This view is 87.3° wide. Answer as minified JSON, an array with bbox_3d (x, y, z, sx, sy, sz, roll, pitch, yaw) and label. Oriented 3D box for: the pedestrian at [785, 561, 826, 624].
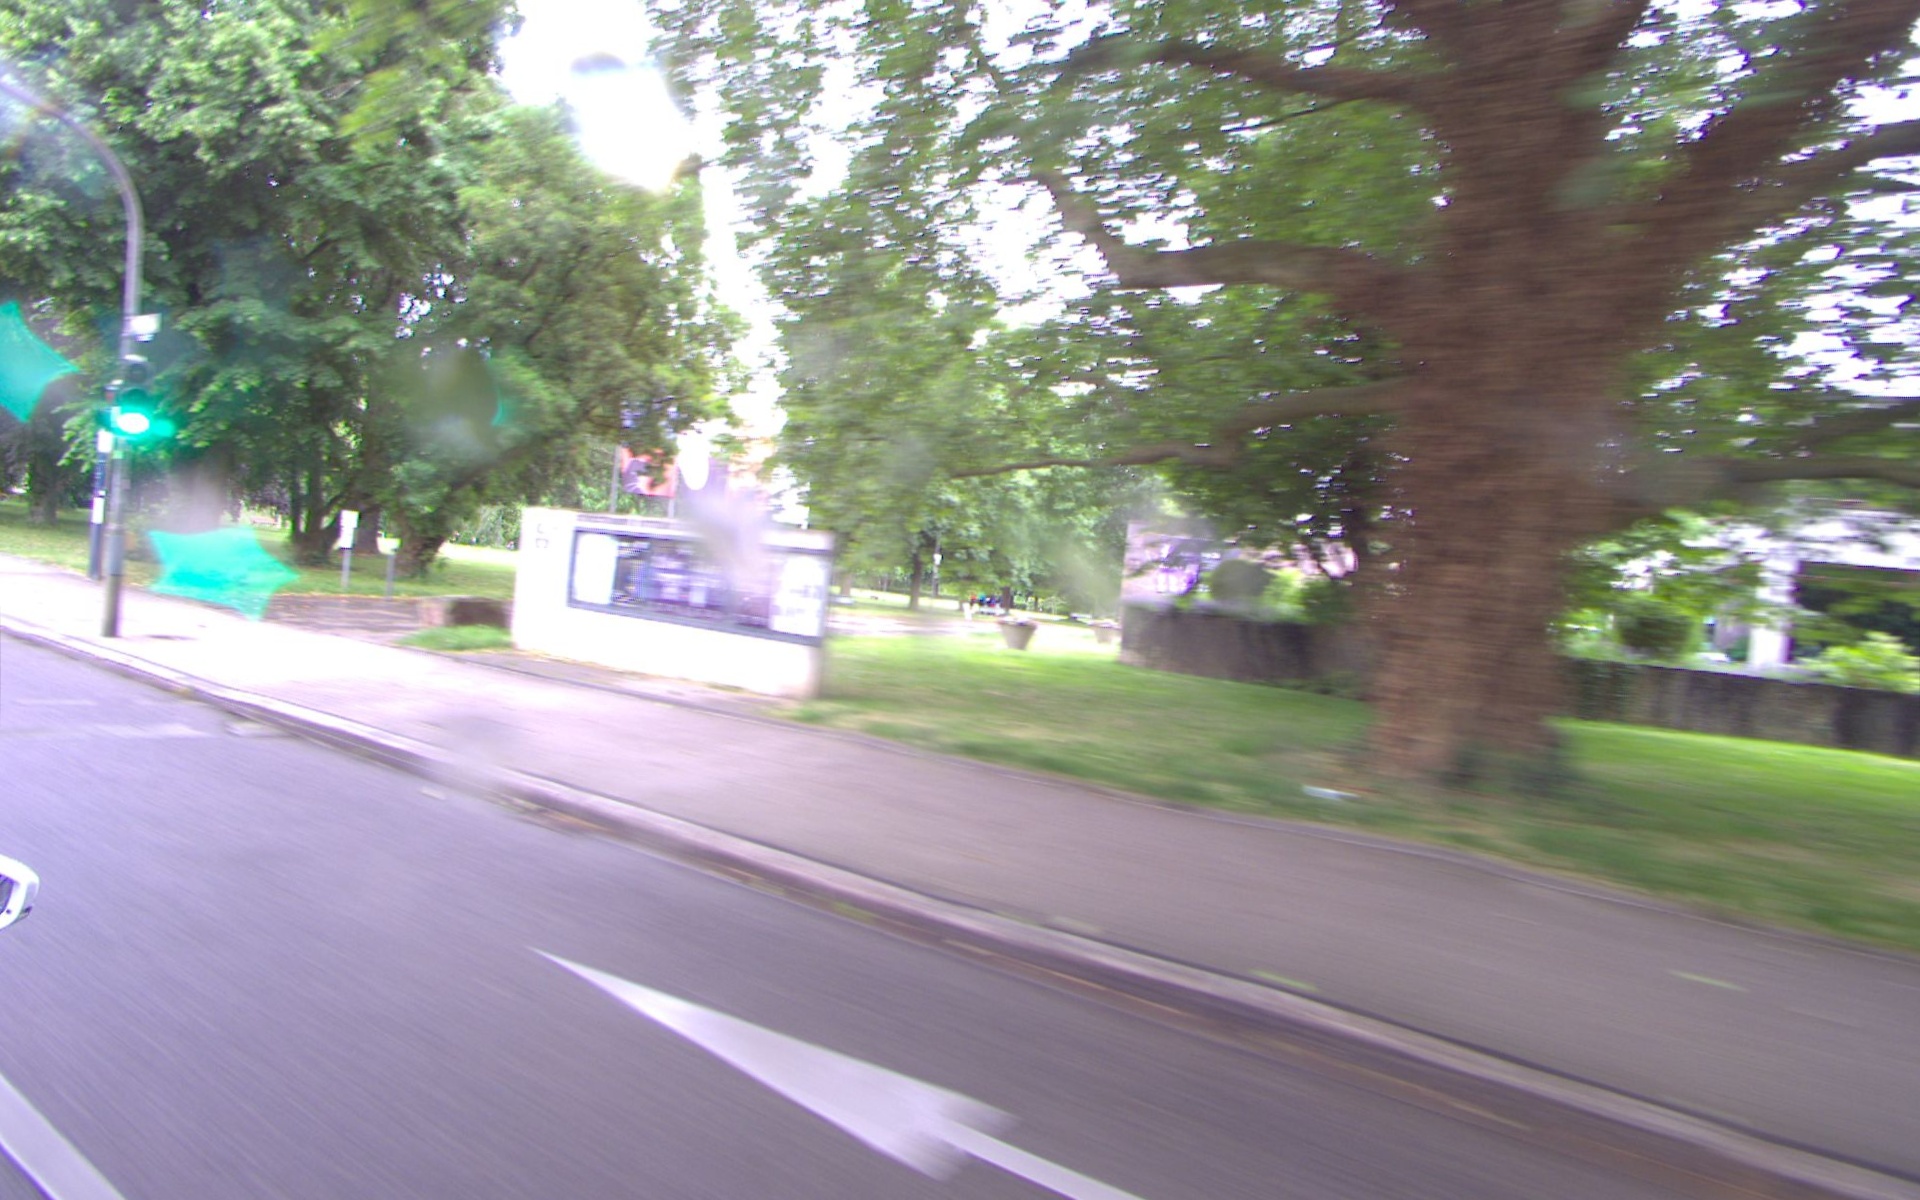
[{"bbox_3d":[-4.553,-0.229,29.596,0.776,1.732,0.666,6,-1,23],"label":"pedestrian"}]
